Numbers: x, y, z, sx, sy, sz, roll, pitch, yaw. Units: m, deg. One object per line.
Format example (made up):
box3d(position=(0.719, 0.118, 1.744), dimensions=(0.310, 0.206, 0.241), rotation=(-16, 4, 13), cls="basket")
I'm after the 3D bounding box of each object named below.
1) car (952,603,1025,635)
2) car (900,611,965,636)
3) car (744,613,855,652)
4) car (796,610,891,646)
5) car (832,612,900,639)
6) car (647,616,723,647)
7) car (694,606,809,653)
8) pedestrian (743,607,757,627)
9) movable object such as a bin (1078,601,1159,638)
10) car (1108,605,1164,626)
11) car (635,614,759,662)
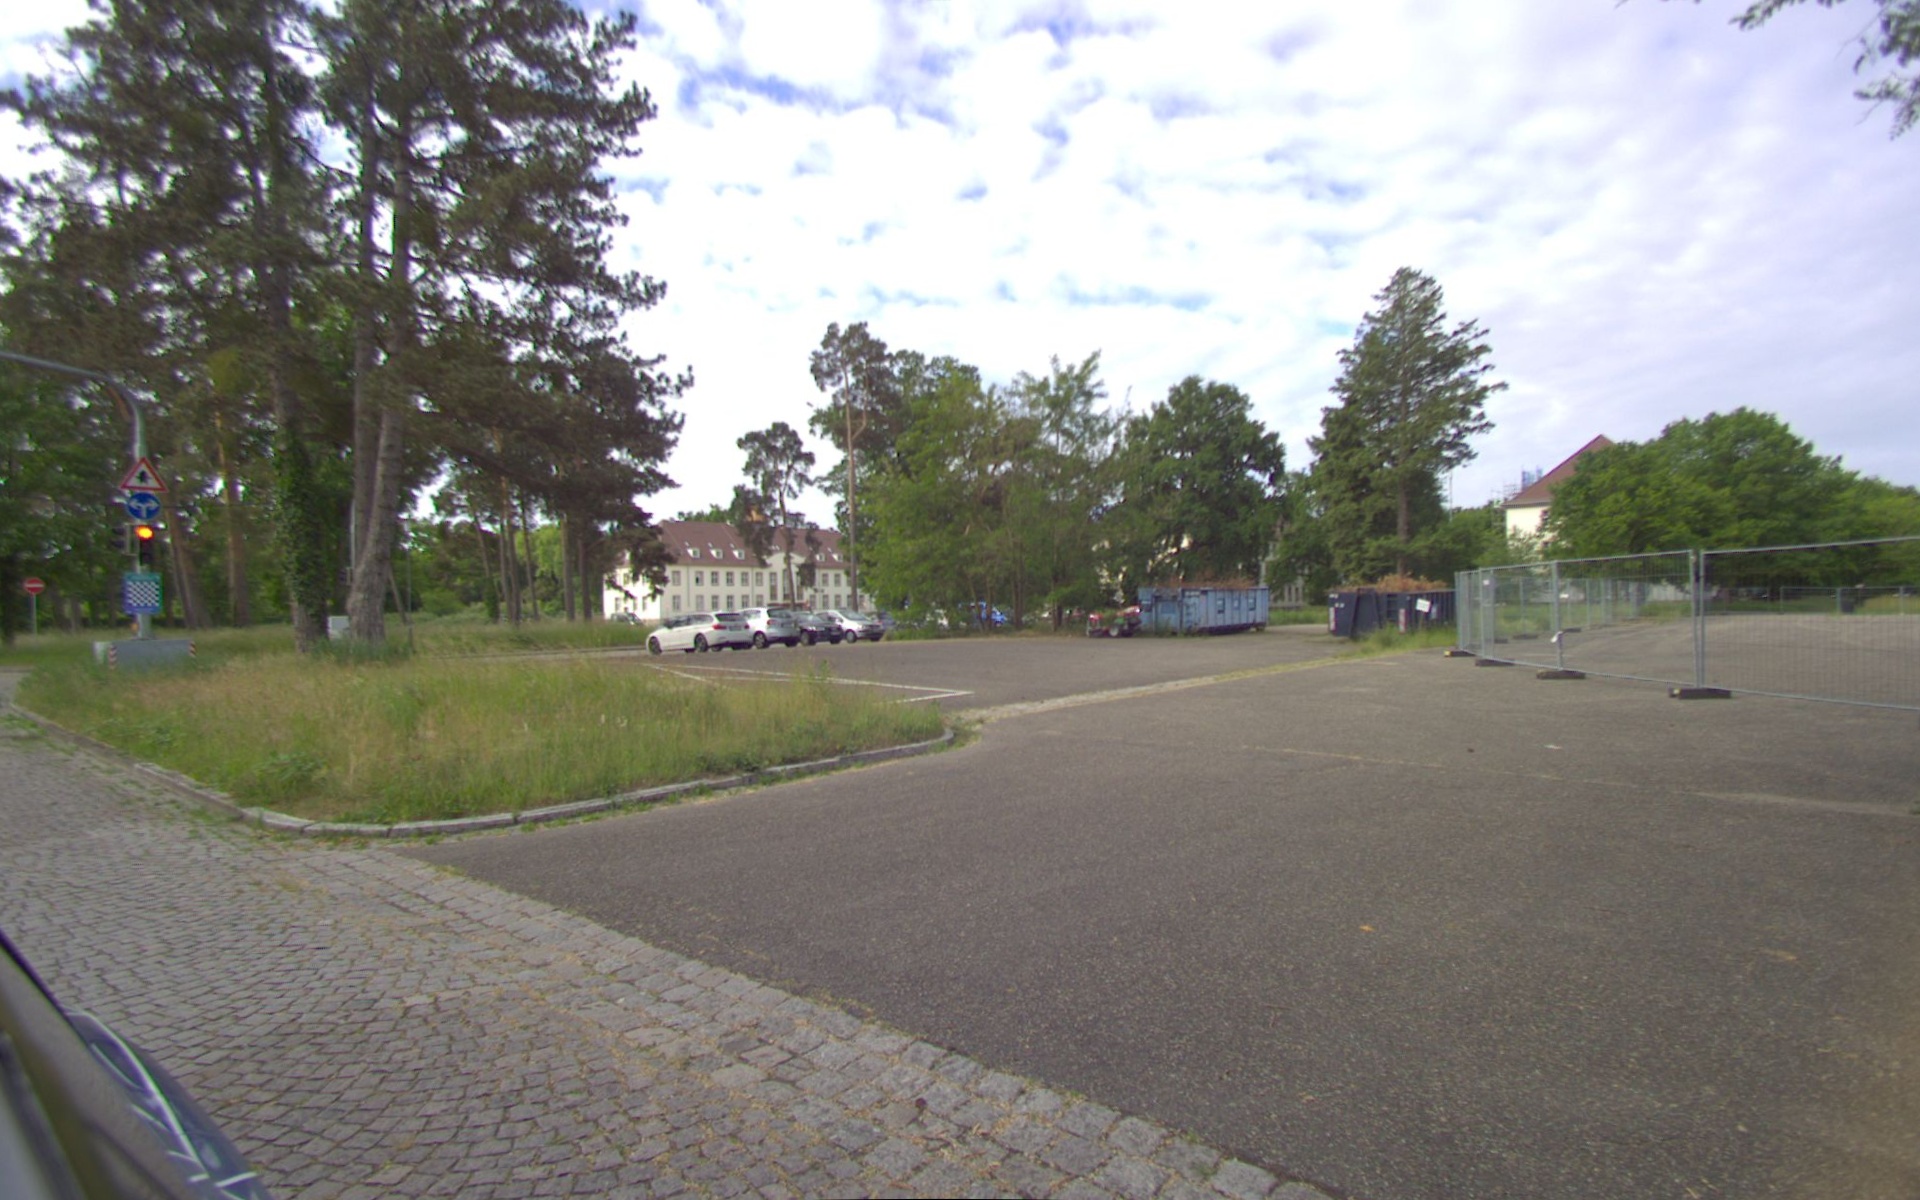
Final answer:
box3d(position=(1.835, 1.248, 67.214), dimensions=(1.970, 2.029, 4.848), rotation=(-1, -1, -44), cls="car")
box3d(position=(-1.764, 1.492, 63.361), dimensions=(3.935, 1.460, 1.772), rotation=(-2, -1, 42), cls="car")
box3d(position=(-6.565, 1.316, 41.128), dimensions=(4.630, 1.433, 1.860), rotation=(-2, -1, 39), cls="car")
box3d(position=(-5.018, 1.196, 43.277), dimensions=(3.980, 1.467, 1.660), rotation=(-2, -1, 37), cls="car")
box3d(position=(-5.485, 1.515, 58.965), dimensions=(3.936, 1.487, 1.771), rotation=(-2, -1, 43), cls="car")
box3d(position=(-13.502, 1.529, 49.565), dimensions=(4.000, 1.429, 1.771), rotation=(-2, -1, 43), cls="car")
box3d(position=(-8.050, 1.136, 38.891), dimensions=(4.481, 1.602, 1.824), rotation=(-4, -2, 38), cls="car")
box3d(position=(-23.766, 1.889, 114.673), dimensions=(1.184, 2.194, 1.041), rotation=(-2, -1, 41), cls="pedestrian")
box3d(position=(5.525, 0.685, 35.346), dimensions=(2.538, 1.221, 1.154), rotation=(-2, -1, 41), cls="movable object such as a bin")
box3d(position=(14.154, 1.281, 81.637), dimensions=(3.995, 1.581, 1.974), rotation=(-2, -1, 39), cls="car")
box3d(position=(-9.626, 1.404, 36.854), dimensions=(4.816, 1.450, 1.888), rotation=(-5, -3, 39), cls="car")
